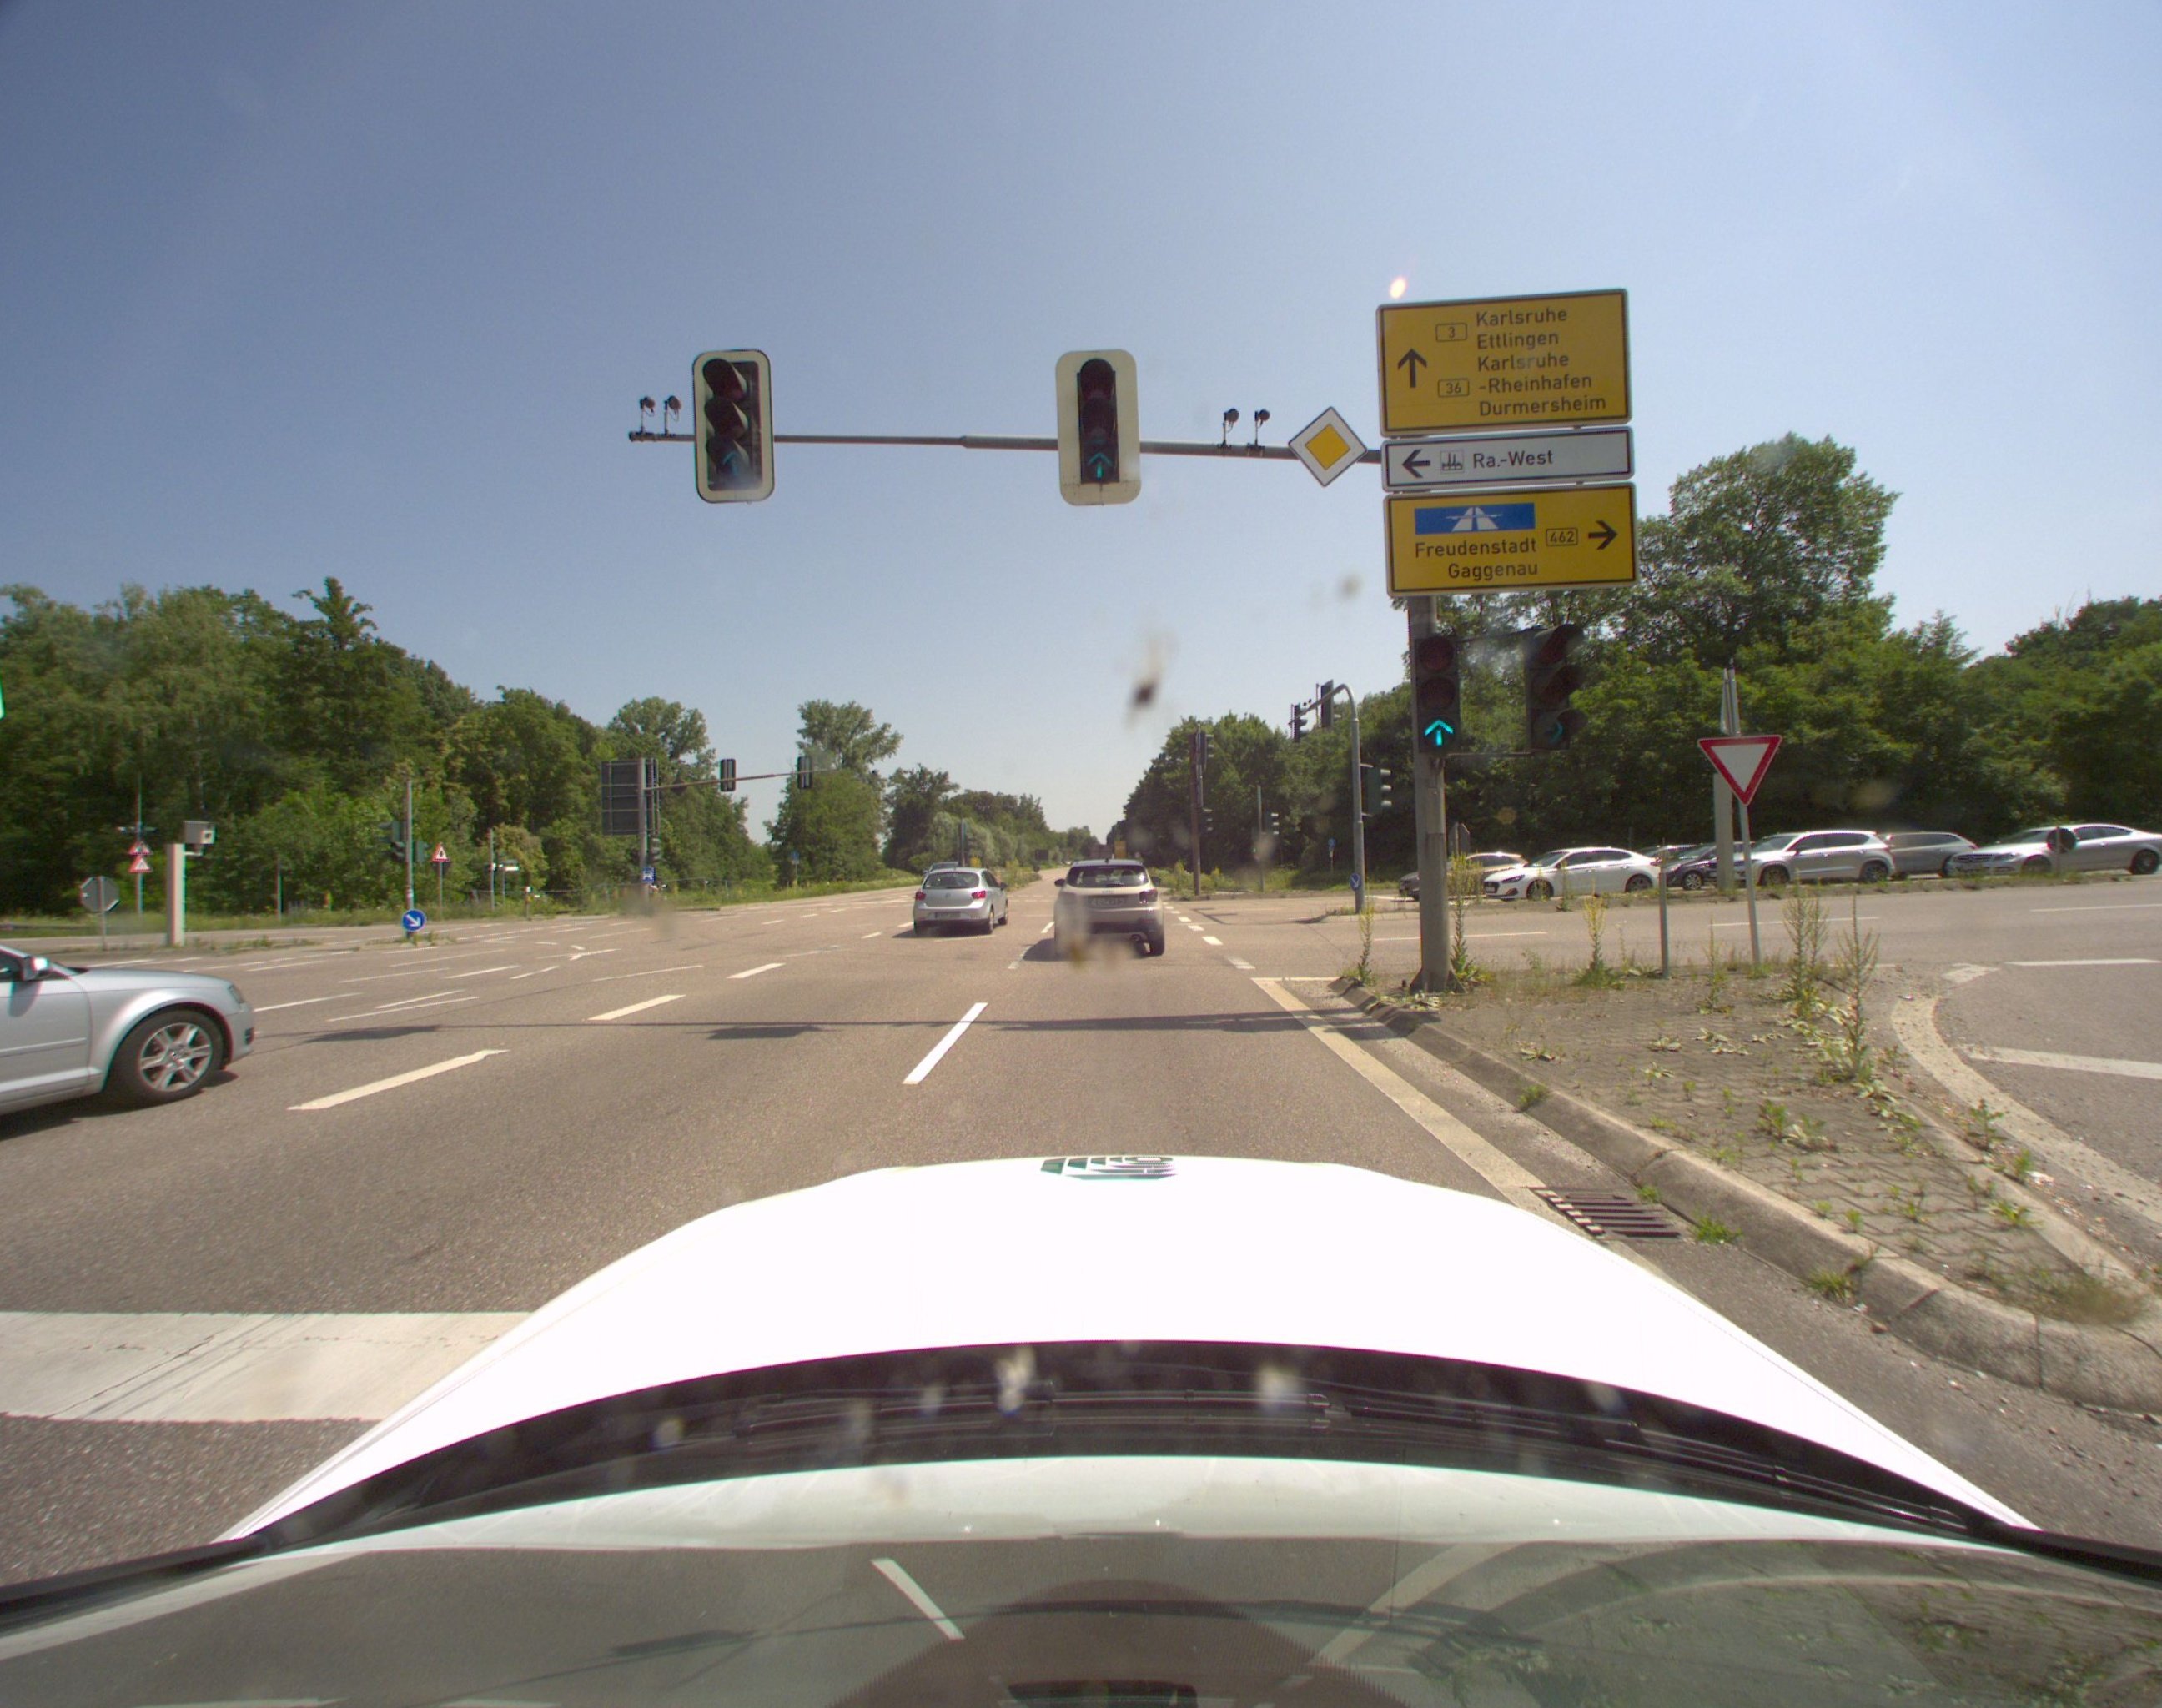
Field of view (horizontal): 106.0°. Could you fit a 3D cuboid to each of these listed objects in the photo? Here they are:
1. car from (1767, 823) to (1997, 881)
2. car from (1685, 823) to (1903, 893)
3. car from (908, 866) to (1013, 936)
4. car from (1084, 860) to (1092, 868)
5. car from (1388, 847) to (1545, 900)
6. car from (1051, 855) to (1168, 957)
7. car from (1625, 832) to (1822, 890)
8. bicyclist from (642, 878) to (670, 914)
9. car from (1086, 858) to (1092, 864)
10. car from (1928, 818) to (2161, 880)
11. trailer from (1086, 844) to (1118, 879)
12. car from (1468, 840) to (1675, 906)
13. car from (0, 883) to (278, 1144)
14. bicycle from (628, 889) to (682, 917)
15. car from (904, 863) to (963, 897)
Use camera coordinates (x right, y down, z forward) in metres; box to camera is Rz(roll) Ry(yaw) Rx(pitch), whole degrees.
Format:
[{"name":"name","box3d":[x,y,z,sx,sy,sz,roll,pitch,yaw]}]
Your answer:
[{"name":"car","box3d":[25.414,-0.020,25.998,5.109,1.534,2.139,-3,-2,1]},{"name":"car","box3d":[19.421,0.121,22.350,4.156,1.659,2.001,-2,-1,1]},{"name":"car","box3d":[-2.630,0.992,18.630,1.659,1.430,3.830,0,-1,3]},{"name":"car","box3d":[1.929,2.580,218.900,1.985,2.014,4.556,-2,-1,2]},{"name":"car","box3d":[12.254,0.616,26.082,4.079,1.447,1.995,-2,-1,-1]},{"name":"car","box3d":[0.530,0.812,14.452,1.760,1.535,4.002,-1,-1,2]},{"name":"car","box3d":[19.903,0.241,25.405,4.403,1.535,2.123,-2,-2,1]},{"name":"bicyclist","box3d":[-17.879,1.755,34.247,0.914,1.459,0.721,-3,-1,39]},{"name":"car","box3d":[2.516,2.234,262.762,1.767,2.013,4.002,-3,-1,2]},{"name":"car","box3d":[26.202,-0.116,22.067,4.314,1.414,1.975,-3,-1,2]},{"name":"trailer","box3d":[2.675,0.958,98.581,3.368,3.989,10.813,0,-1,4]},{"name":"car","box3d":[13.245,0.494,22.207,4.405,1.535,2.000,-2,-1,0]},{"name":"car","box3d":[-6.809,0.900,3.994,1.759,1.391,4.013,0,0,-1]},{"name":"bicycle","box3d":[-17.886,2.033,34.232,0.715,1.063,1.881,-3,-1,39]},{"name":"car","box3d":[-8.106,1.375,45.223,1.985,1.678,5.368,-3,-1,2]}]
